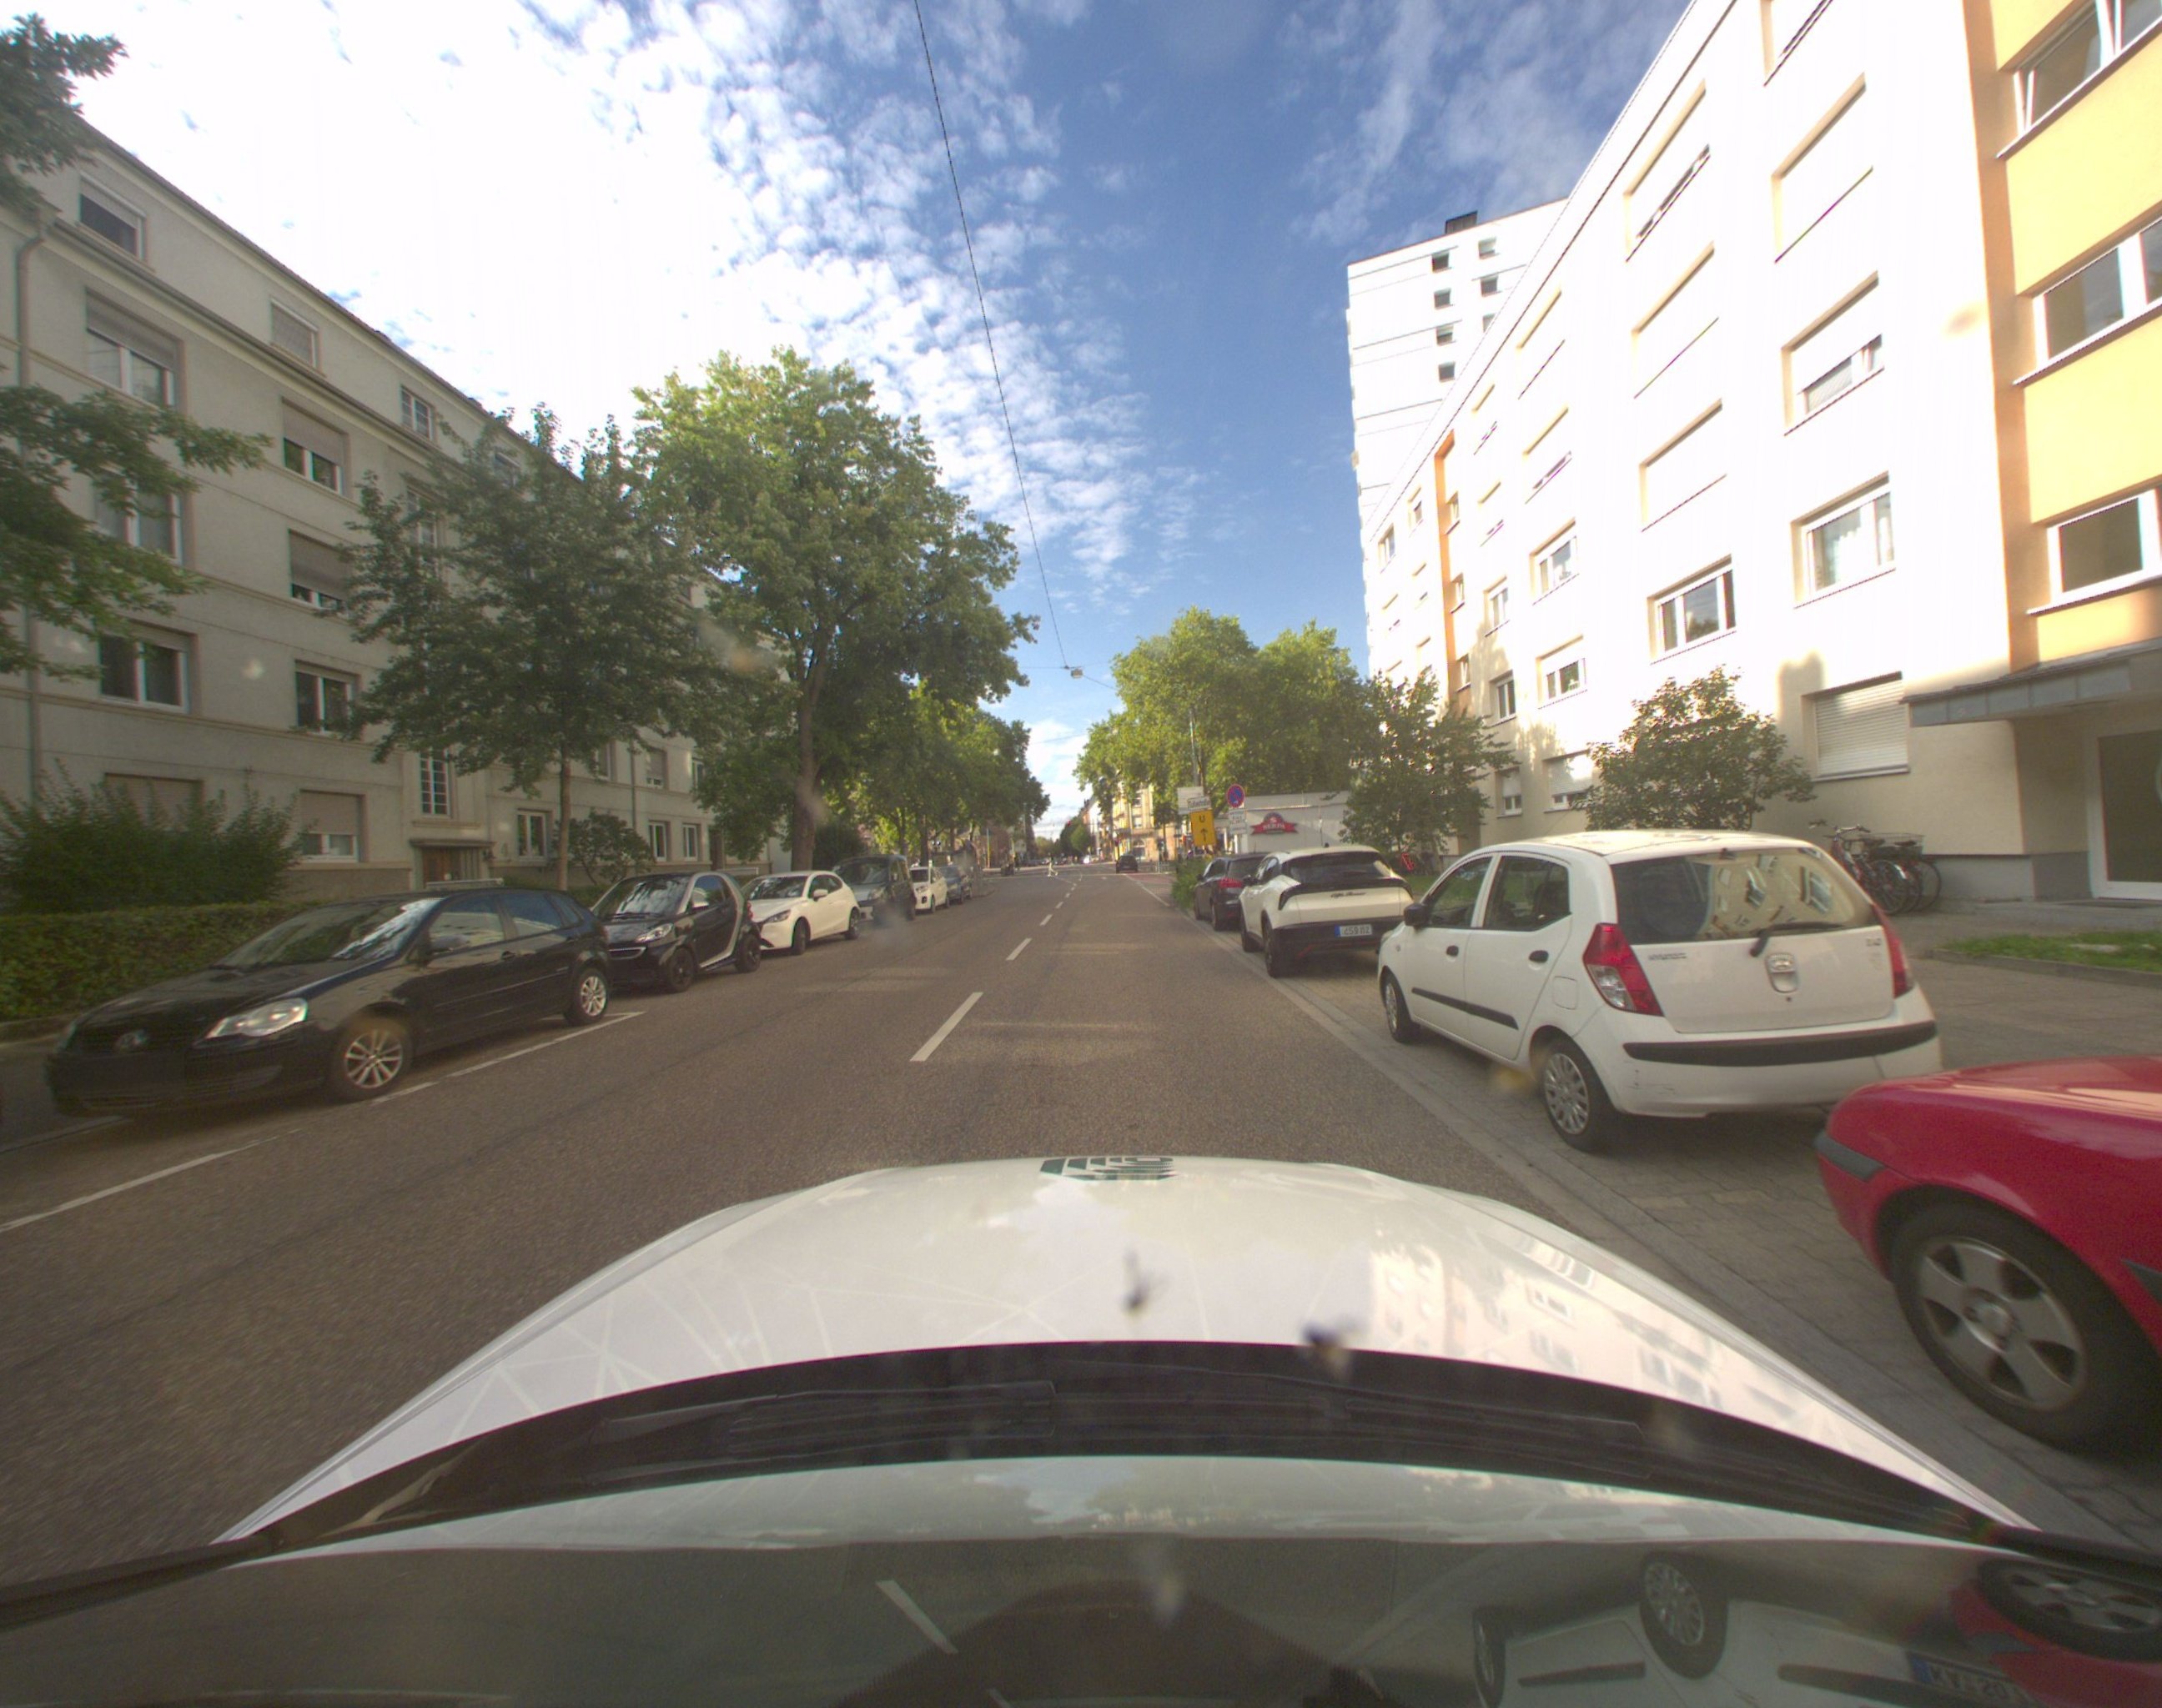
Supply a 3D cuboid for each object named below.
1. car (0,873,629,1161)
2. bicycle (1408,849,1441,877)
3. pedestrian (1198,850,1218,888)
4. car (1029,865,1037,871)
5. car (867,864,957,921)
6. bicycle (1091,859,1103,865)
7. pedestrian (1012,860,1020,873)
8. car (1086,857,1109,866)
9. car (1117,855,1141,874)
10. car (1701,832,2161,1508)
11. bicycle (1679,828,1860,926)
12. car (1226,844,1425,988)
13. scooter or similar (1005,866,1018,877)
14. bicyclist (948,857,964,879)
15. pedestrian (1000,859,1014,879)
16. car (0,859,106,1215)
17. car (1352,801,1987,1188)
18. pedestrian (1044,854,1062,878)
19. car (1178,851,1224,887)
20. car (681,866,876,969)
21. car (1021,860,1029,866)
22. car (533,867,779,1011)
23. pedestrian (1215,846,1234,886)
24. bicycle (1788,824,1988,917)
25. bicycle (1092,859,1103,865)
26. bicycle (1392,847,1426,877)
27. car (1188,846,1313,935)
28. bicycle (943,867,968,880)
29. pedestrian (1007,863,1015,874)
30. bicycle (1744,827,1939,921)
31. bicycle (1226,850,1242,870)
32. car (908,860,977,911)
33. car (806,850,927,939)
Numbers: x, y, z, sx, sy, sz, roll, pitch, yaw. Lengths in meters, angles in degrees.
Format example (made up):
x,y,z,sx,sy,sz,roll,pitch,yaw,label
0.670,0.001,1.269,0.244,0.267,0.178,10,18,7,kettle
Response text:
x,y,z,sx,sy,sz,roll,pitch,yaw,label
-5.761,1.022,6.778,1.694,1.486,3.847,-5,0,0,car
12.438,0.327,29.525,0.476,0.963,1.552,-3,0,-1,bicycle
5.346,0.621,34.333,0.650,1.538,0.743,-4,0,1,pedestrian
-10.911,3.252,184.844,1.545,1.230,3.588,-2,0,1,car
-5.324,1.165,26.082,1.792,1.493,3.805,-6,0,3,car
2.973,1.457,150.209,2.024,1.082,0.628,-3,0,-12,bicycle
-8.848,1.715,110.588,0.774,1.662,0.782,-3,0,21,pedestrian
3.039,1.431,152.056,3.982,1.420,1.996,-3,0,-6,car
3.853,0.857,65.821,1.745,1.413,4.001,-3,0,1,car
3.073,0.659,1.096,1.511,1.398,3.673,-4,0,-2,car
9.502,0.291,11.383,0.595,1.186,2.210,-6,0,2,bicycle
3.111,0.696,11.246,1.682,1.528,4.242,-3,0,4,car
-6.155,1.516,72.195,0.799,0.923,1.018,-3,0,15,scooter or similar
-10.103,1.123,65.891,1.106,1.691,0.814,-2,0,-2,bicyclist
-6.473,1.316,71.163,0.807,1.654,1.080,-3,0,15,pedestrian
-6.119,0.948,2.006,1.792,1.668,4.485,-5,0,3,car
3.124,0.610,5.265,1.545,1.557,3.469,-5,0,1,car
-2.127,0.882,61.891,1.076,1.753,0.914,-2,0,-15,pedestrian
5.489,0.648,37.639,1.752,1.411,4.239,-4,0,5,car
-5.542,1.075,15.592,1.686,1.493,4.338,-5,0,5,car
-13.362,2.198,194.166,1.545,1.230,3.588,-2,0,1,car
-5.623,1.043,11.203,1.546,1.520,3.018,-6,0,3,car
6.155,0.516,34.995,0.650,1.645,0.743,-3,0,1,pedestrian
10.930,0.205,11.166,0.527,1.115,2.210,-4,0,2,bicycle
3.011,1.471,149.578,2.024,1.082,0.618,-3,0,-12,bicycle
11.884,0.284,29.532,0.520,1.056,1.552,-3,0,-1,bicycle
3.401,0.676,17.084,1.684,1.528,4.237,-4,0,0,car
-10.138,1.559,65.863,1.914,0.994,0.763,-2,0,0,bicycle
-9.310,1.940,108.386,0.774,1.432,0.735,-3,0,25,pedestrian
10.313,0.246,11.185,0.595,1.115,2.210,-5,0,2,bicycle
9.927,0.400,52.900,0.765,1.206,1.818,-5,0,4,bicycle
-5.132,1.140,30.657,1.793,1.620,3.802,-5,0,0,car
-5.313,0.928,20.747,1.717,1.882,4.193,-5,0,1,car
